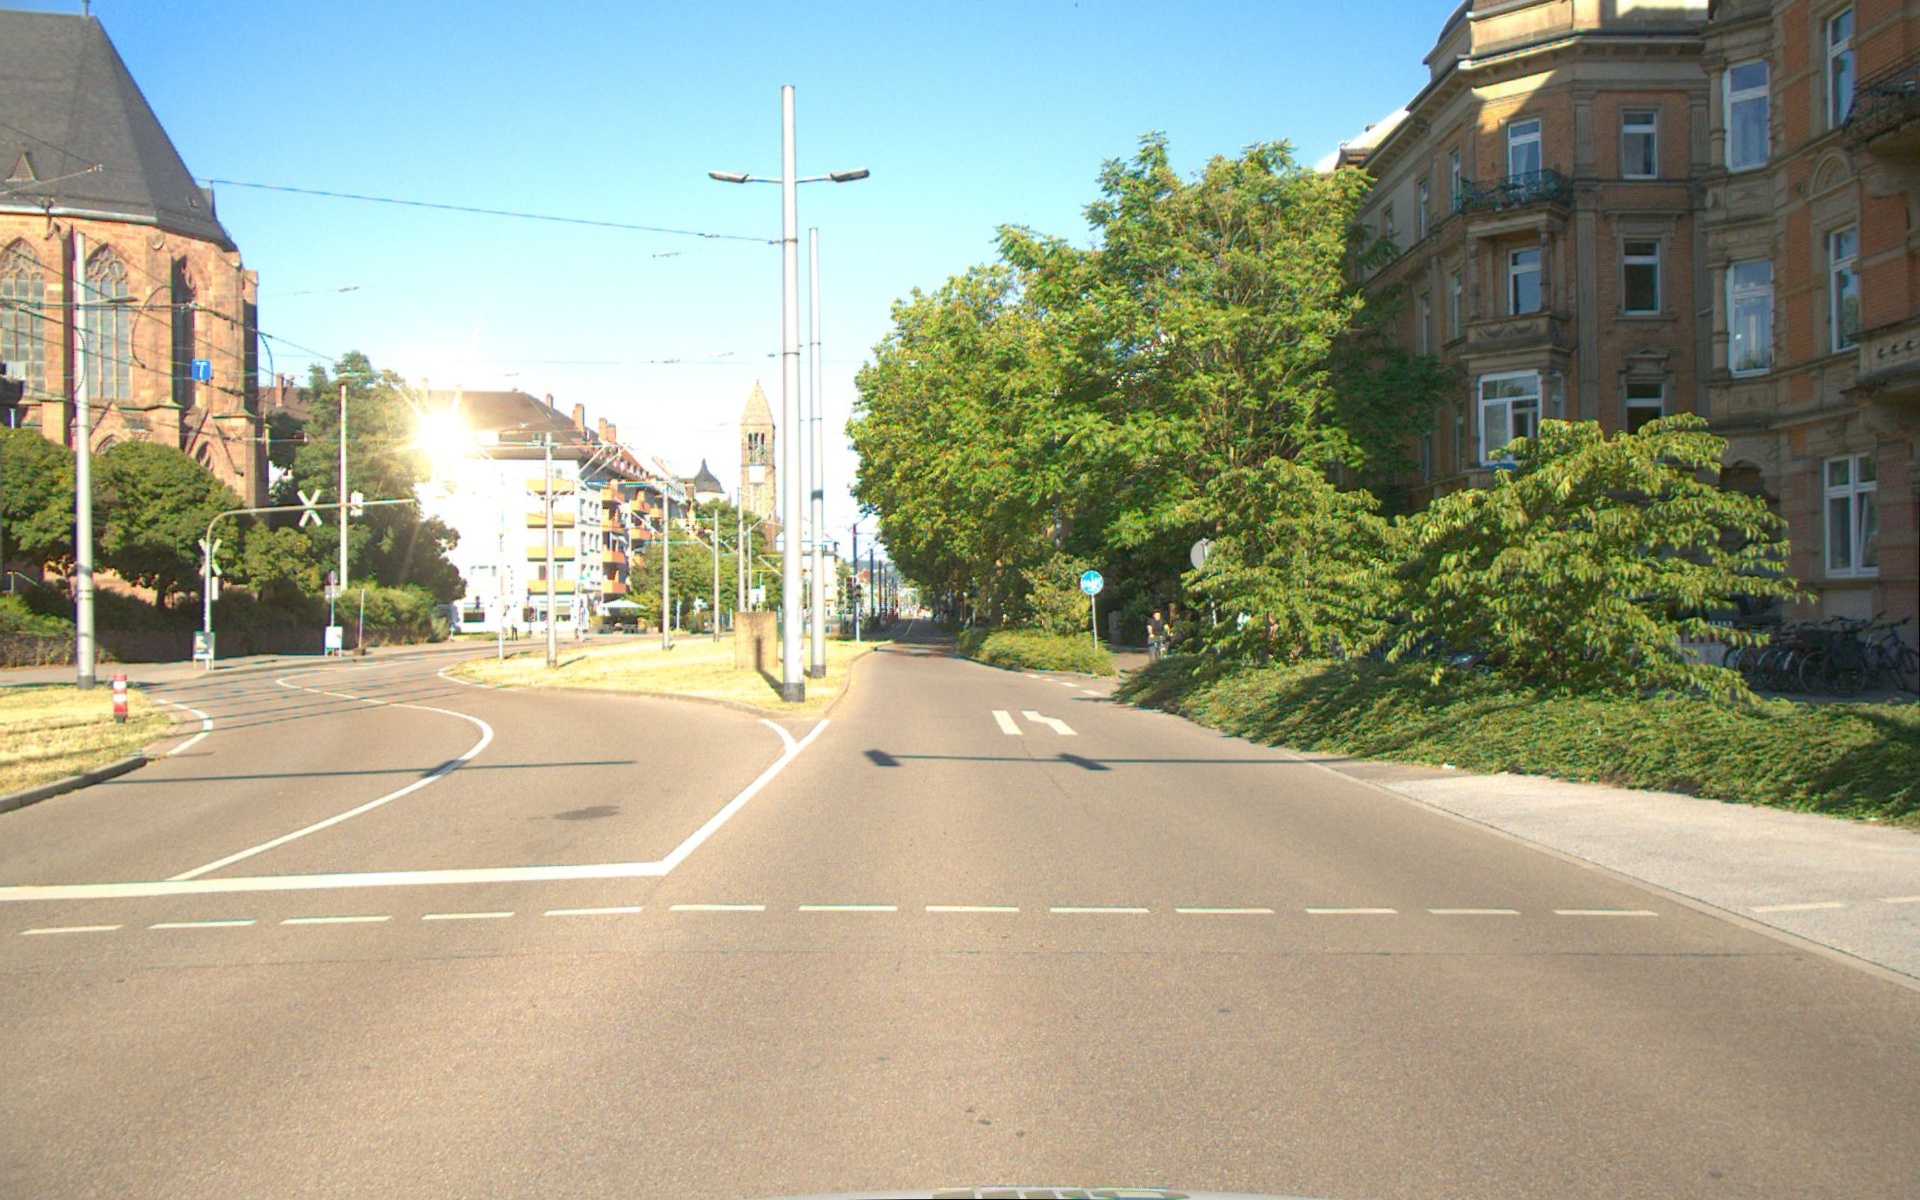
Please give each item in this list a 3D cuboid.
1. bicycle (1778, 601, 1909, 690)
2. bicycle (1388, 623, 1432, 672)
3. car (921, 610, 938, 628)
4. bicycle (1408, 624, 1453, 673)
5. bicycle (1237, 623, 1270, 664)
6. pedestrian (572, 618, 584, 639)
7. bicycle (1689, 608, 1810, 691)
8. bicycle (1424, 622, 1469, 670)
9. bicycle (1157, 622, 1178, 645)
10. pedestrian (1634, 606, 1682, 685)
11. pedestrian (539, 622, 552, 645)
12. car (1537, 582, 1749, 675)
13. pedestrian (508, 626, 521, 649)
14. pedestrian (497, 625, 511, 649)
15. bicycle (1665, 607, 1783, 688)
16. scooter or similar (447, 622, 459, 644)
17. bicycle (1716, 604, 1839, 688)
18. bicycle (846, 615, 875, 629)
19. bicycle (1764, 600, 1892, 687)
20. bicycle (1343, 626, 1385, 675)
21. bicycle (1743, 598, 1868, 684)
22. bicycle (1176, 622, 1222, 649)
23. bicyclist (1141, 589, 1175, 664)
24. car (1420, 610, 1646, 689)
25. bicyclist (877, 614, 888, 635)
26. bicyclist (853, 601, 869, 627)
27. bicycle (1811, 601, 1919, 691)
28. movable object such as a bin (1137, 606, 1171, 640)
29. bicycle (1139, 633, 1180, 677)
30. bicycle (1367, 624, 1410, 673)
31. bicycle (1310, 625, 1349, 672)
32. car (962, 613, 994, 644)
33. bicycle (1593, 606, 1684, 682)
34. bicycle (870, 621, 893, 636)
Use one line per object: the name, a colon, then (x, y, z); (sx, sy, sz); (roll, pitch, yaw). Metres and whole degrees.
bicycle: (13.328, 0.682, 24.955); (1.851, 1.260, 0.489); (-2, -2, -14)
bicycle: (11.172, 1.171, 41.102); (0.507, 1.066, 1.820); (-2, 2, -2)
car: (-3.673, 2.275, 198.721); (1.953, 2.144, 3.999); (1, -1, -1)
bicycle: (11.694, 1.196, 41.127); (0.507, 1.066, 1.820); (-2, 2, -2)
bicycle: (8.198, 1.212, 46.255); (0.515, 1.005, 1.721); (-2, 2, -3)
pedestrian: (-28.876, 2.170, 125.032); (0.583, 1.493, 0.906); (-3, 2, -31)
bicycle: (12.971, 0.810, 27.172); (1.851, 1.260, 0.489); (-2, -2, -14)
bicycle: (12.296, 1.146, 41.837); (0.507, 1.066, 1.820); (-2, 2, -2)
bicycle: (8.311, 1.343, 66.301); (0.753, 0.869, 0.375); (-2, 2, -5)
pedestrian: (13.955, 0.905, 33.069); (0.689, 1.561, 0.658); (-2, -1, 39)
pedestrian: (-28.750, 2.331, 114.738); (0.674, 1.493, 0.591); (-2, 2, 2)
car: (16.696, 0.670, 40.537); (4.486, 2.161, 1.775); (0, 2, -3)
pedestrian: (-30.722, 2.567, 113.987); (0.577, 1.493, 0.916); (-2, 2, -1)
pedestrian: (-31.415, 2.538, 113.906); (0.631, 1.626, 0.898); (-2, 2, -1)
bicycle: (12.813, 0.791, 27.753); (1.851, 1.260, 0.489); (-2, -2, -14)
scooter or similar: (-32.613, 2.127, 106.421); (0.393, 1.283, 1.230); (-2, 2, -1)
bicycle: (13.161, 0.736, 26.628); (1.851, 1.260, 0.489); (-2, -2, -14)
bicycle: (-7.698, 1.669, 127.905); (2.196, 0.993, 0.682); (-1, 2, -2)
bicycle: (13.424, 0.670, 25.577); (1.851, 1.260, 0.489); (-2, -2, -14)
bicycle: (10.007, 1.236, 41.036); (0.507, 1.066, 1.820); (-2, 2, -2)
bicycle: (13.377, 0.646, 26.163); (1.851, 1.260, 0.489); (-2, -2, -14)
bicycle: (8.985, 1.343, 62.215); (1.619, 0.941, 0.539); (-2, 2, -1)
bicyclist: (4.990, 0.673, 41.679); (0.628, 1.846, 1.052); (-2, -2, -2)
car: (12.112, 1.036, 35.136); (4.165, 1.440, 1.812); (-2, 2, -2)
bicyclist: (-6.108, 1.920, 130.639); (0.735, 1.585, 0.572); (-2, 2, -10)
bicyclist: (-7.660, 1.060, 127.895); (1.118, 1.923, 0.682); (-2, 2, -2)
bicycle: (13.551, 0.667, 24.424); (1.851, 1.260, 0.489); (-2, -2, -14)
movable object such as a bin: (8.307, 0.989, 70.795); (1.207, 1.406, 1.256); (-2, 0, -3)
bicycle: (5.005, 1.375, 41.670); (0.628, 1.066, 2.359); (-2, -2, -2)
bicycle: (10.634, 1.191, 41.062); (0.507, 1.066, 1.820); (-2, 2, -2)
bicycle: (9.387, 1.215, 42.064); (0.507, 1.066, 1.820); (-2, 2, -2)
car: (0.945, 1.523, 89.257); (1.610, 1.538, 4.182); (-2, 0, -1)
bicycle: (11.795, 0.782, 28.822); (0.480, 1.260, 1.884); (-2, -2, -10)
bicycle: (-6.191, 2.279, 130.626); (1.781, 1.066, 0.572); (-2, 2, -10)
